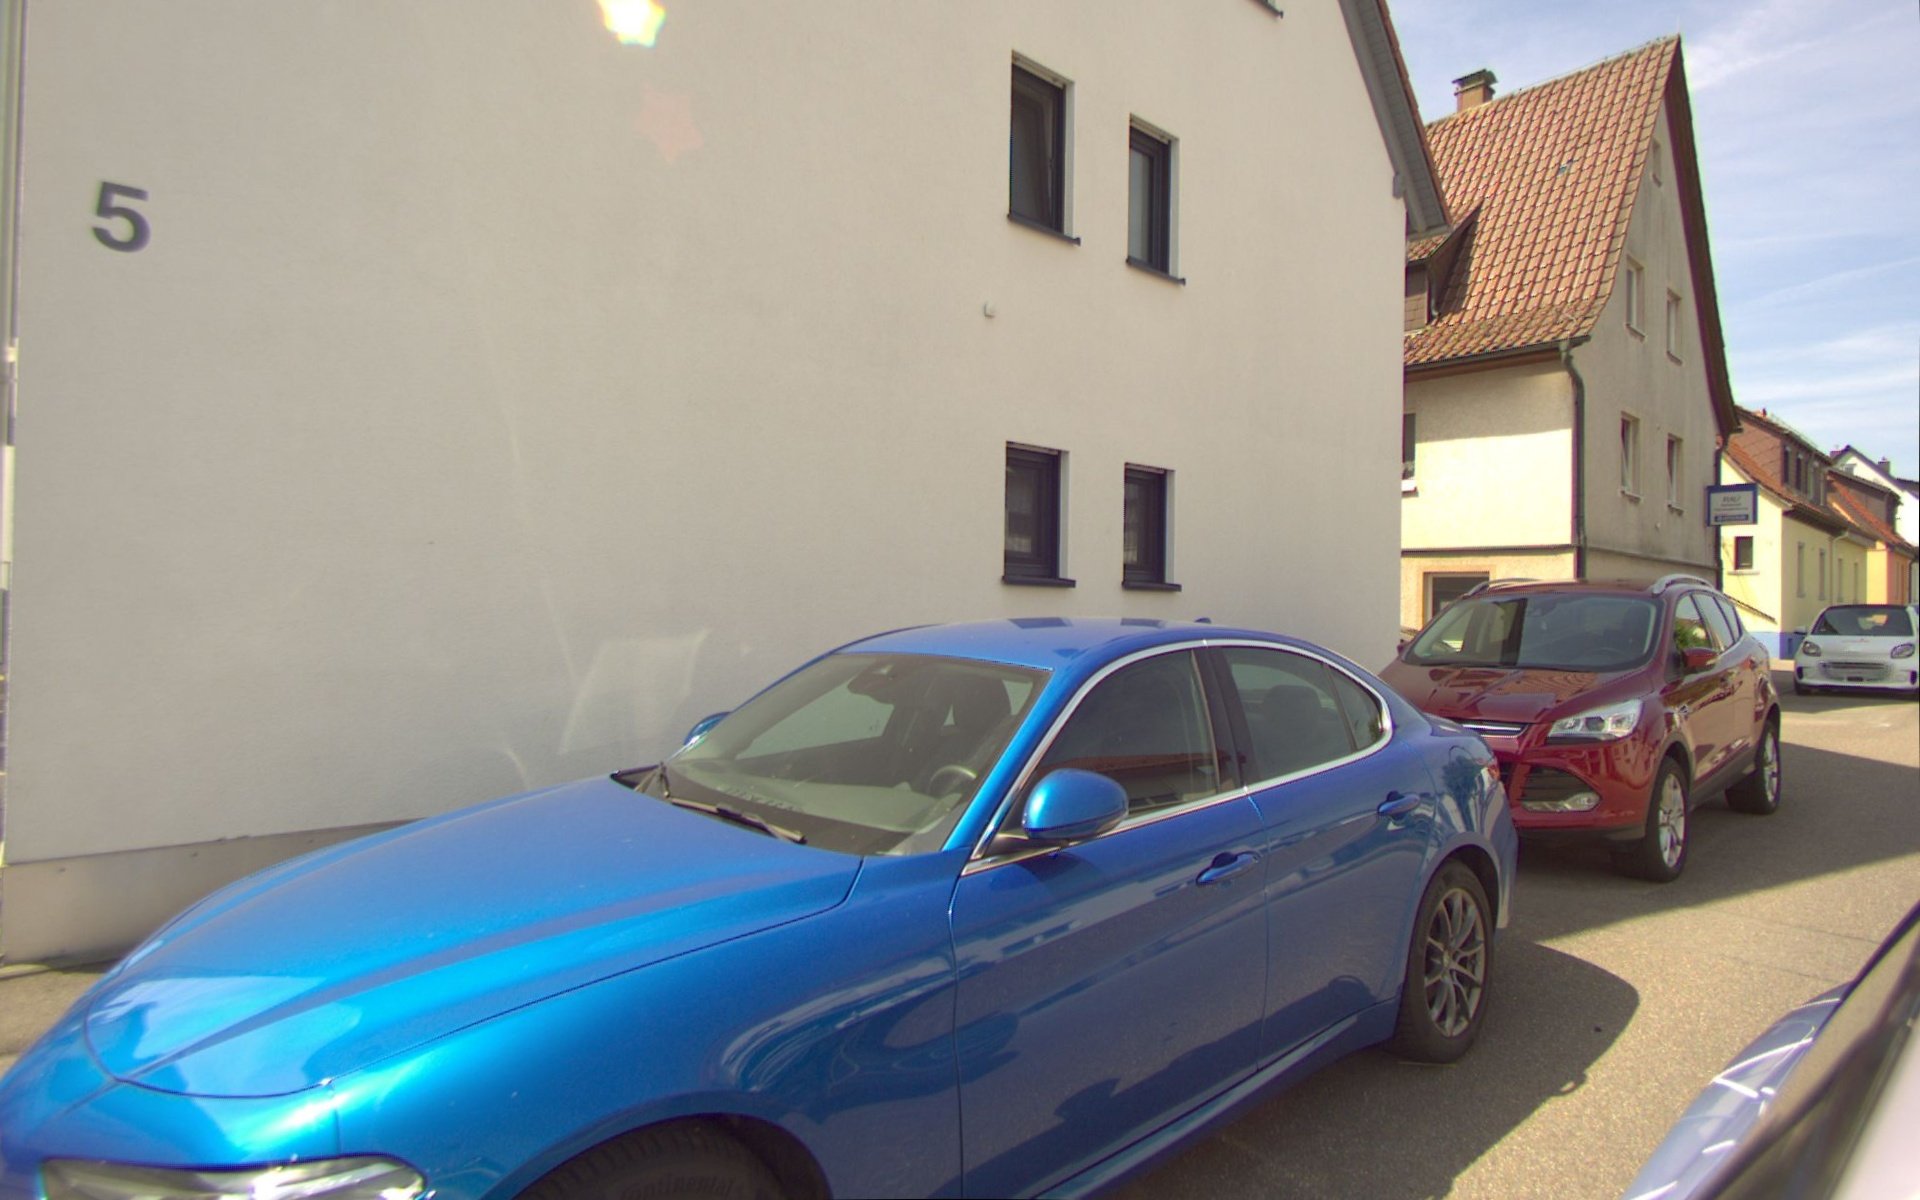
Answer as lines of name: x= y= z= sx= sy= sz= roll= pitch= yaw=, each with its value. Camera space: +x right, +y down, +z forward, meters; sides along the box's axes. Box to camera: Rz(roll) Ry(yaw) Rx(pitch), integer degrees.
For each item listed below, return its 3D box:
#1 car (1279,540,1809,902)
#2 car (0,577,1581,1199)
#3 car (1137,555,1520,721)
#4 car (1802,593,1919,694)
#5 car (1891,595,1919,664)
car: x=4.133 y=0.585 z=6.882 sx=4.110 sy=1.722 sz=1.878 roll=0 pitch=-1 yaw=-41
car: x=0.124 y=0.698 z=3.144 sx=4.510 sy=1.442 sz=1.766 roll=0 pitch=0 yaw=-40
car: x=4.829 y=0.437 z=13.768 sx=1.967 sy=1.866 sz=4.519 roll=0 pitch=-1 yaw=-43
car: x=15.766 y=0.683 z=17.335 sx=2.988 sy=1.578 sz=1.676 roll=0 pitch=0 yaw=-42
car: x=24.218 y=0.683 z=24.717 sx=4.179 sy=1.620 sz=1.731 roll=0 pitch=-1 yaw=-41
